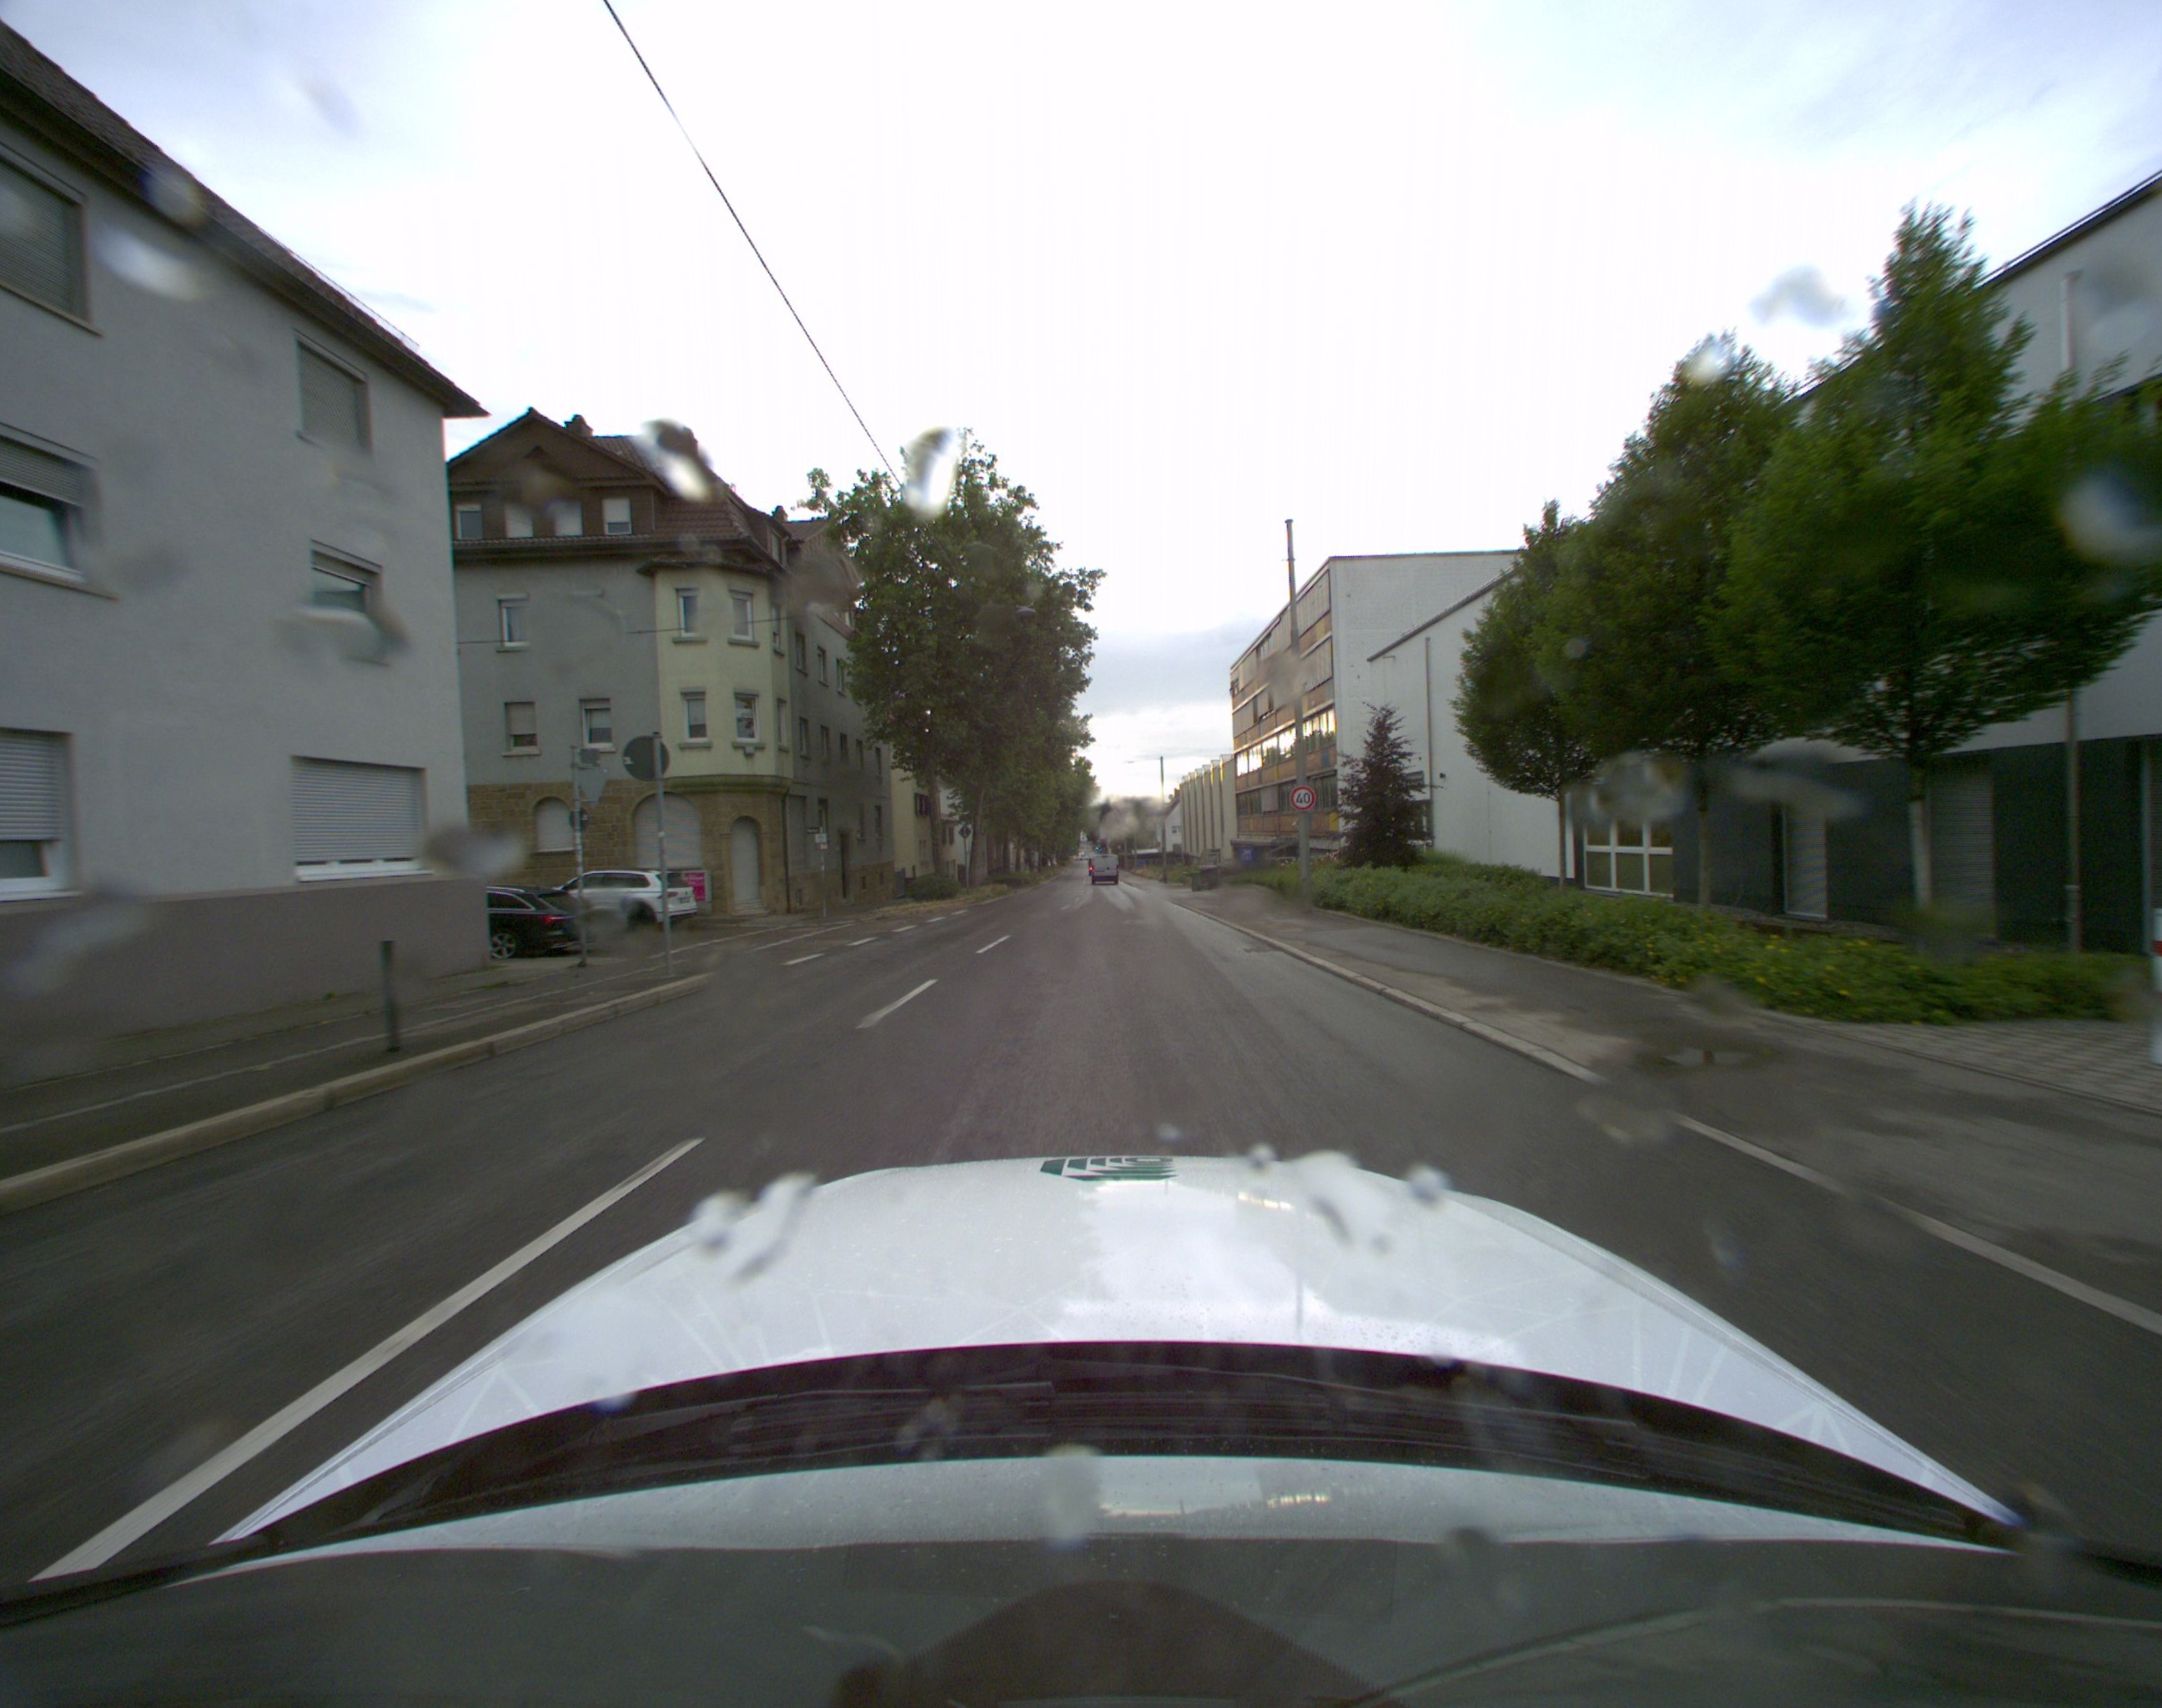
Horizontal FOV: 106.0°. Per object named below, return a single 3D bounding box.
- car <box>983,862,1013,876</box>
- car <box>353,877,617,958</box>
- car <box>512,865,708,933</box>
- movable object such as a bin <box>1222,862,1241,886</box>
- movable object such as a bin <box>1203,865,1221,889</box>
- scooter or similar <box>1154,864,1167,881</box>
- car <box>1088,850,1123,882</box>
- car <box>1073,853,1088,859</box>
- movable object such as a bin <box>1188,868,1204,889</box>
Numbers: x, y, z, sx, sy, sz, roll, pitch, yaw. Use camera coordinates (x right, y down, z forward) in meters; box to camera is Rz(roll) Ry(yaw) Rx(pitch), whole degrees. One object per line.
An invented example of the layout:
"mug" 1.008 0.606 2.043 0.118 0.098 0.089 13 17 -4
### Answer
"car" -12.466 2.215 122.490 4.184 1.892 1.999 -2 0 -1
"car" -12.255 1.282 16.967 3.974 1.453 2.000 1 0 0
"car" -12.877 1.198 22.470 4.168 1.704 2.000 1 0 0
"movable object such as a bin" 7.356 0.977 39.769 0.692 1.082 0.779 -5 -1 1
"movable object such as a bin" 6.387 1.109 39.720 0.692 1.082 0.779 -5 -1 1
"scooter or similar" 5.681 1.336 58.465 0.604 1.162 1.697 -2 -1 -4
"car" 1.868 0.902 63.371 2.340 2.160 4.775 -3 1 -1
"car" -0.061 0.492 222.097 1.974 1.576 4.025 -2 0 39
"movable object such as a bin" 5.605 1.203 39.565 0.617 0.936 0.686 -5 -1 1
